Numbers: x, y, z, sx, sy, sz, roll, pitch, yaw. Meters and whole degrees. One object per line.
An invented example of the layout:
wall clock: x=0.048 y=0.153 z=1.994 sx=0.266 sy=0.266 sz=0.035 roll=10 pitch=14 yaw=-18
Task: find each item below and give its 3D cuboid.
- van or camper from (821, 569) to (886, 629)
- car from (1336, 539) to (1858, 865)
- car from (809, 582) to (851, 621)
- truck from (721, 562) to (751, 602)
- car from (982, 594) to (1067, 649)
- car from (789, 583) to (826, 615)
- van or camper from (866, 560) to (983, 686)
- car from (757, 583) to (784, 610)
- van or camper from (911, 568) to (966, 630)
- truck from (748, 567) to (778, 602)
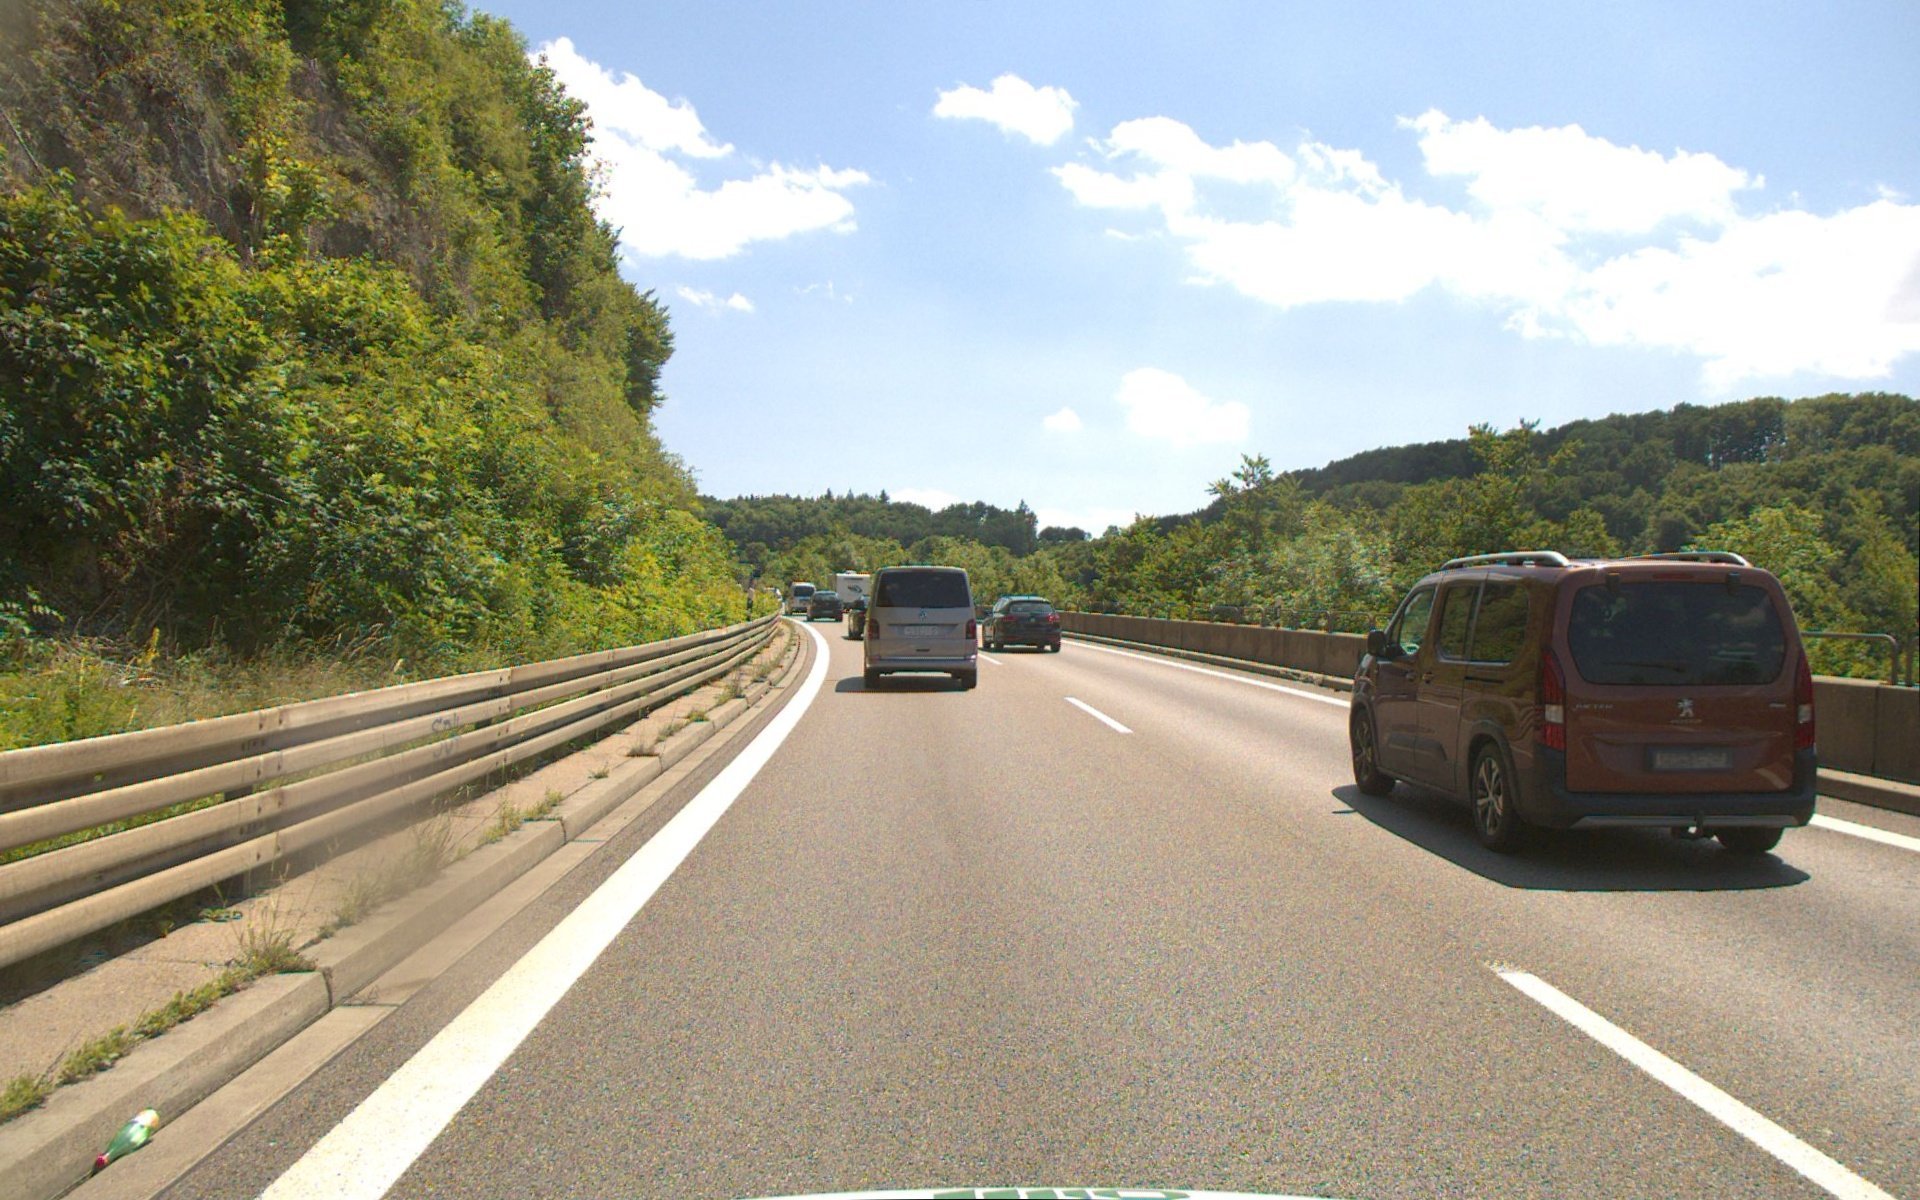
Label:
van or camper: x=-7.325 y=-0.090 z=112.567 sx=3.219 sy=3.855 sz=8.086 roll=1 pitch=0 yaw=-13
car: x=4.123 y=0.592 z=11.651 sx=1.796 sy=1.815 sz=4.674 roll=1 pitch=0 yaw=-1
car: x=-6.399 y=0.043 z=81.236 sx=1.955 sy=1.849 sz=3.995 roll=1 pitch=0 yaw=-6
truck: x=-26.676 y=-2.078 z=196.704 sx=3.231 sy=4.598 sz=7.713 roll=1 pitch=0 yaw=-9
car: x=1.711 y=0.552 z=44.989 sx=1.735 sy=1.400 sz=3.587 roll=1 pitch=0 yaw=-7
car: x=-8.953 y=-0.056 z=97.536 sx=1.953 sy=1.849 sz=3.998 roll=1 pitch=0 yaw=-3
van or camper: x=-0.656 y=0.368 z=28.225 sx=1.838 sy=1.983 sz=4.291 roll=0 pitch=0 yaw=-3
car: x=-14.024 y=-0.272 z=122.305 sx=1.955 sy=1.948 sz=3.994 roll=1 pitch=0 yaw=-6
van or camper: x=-0.977 y=-0.030 z=72.047 sx=2.218 sy=2.596 sz=4.733 roll=0 pitch=0 yaw=-3
truck: x=-25.550 y=-2.043 z=214.737 sx=3.225 sy=4.407 sz=7.727 roll=1 pitch=0 yaw=-2
